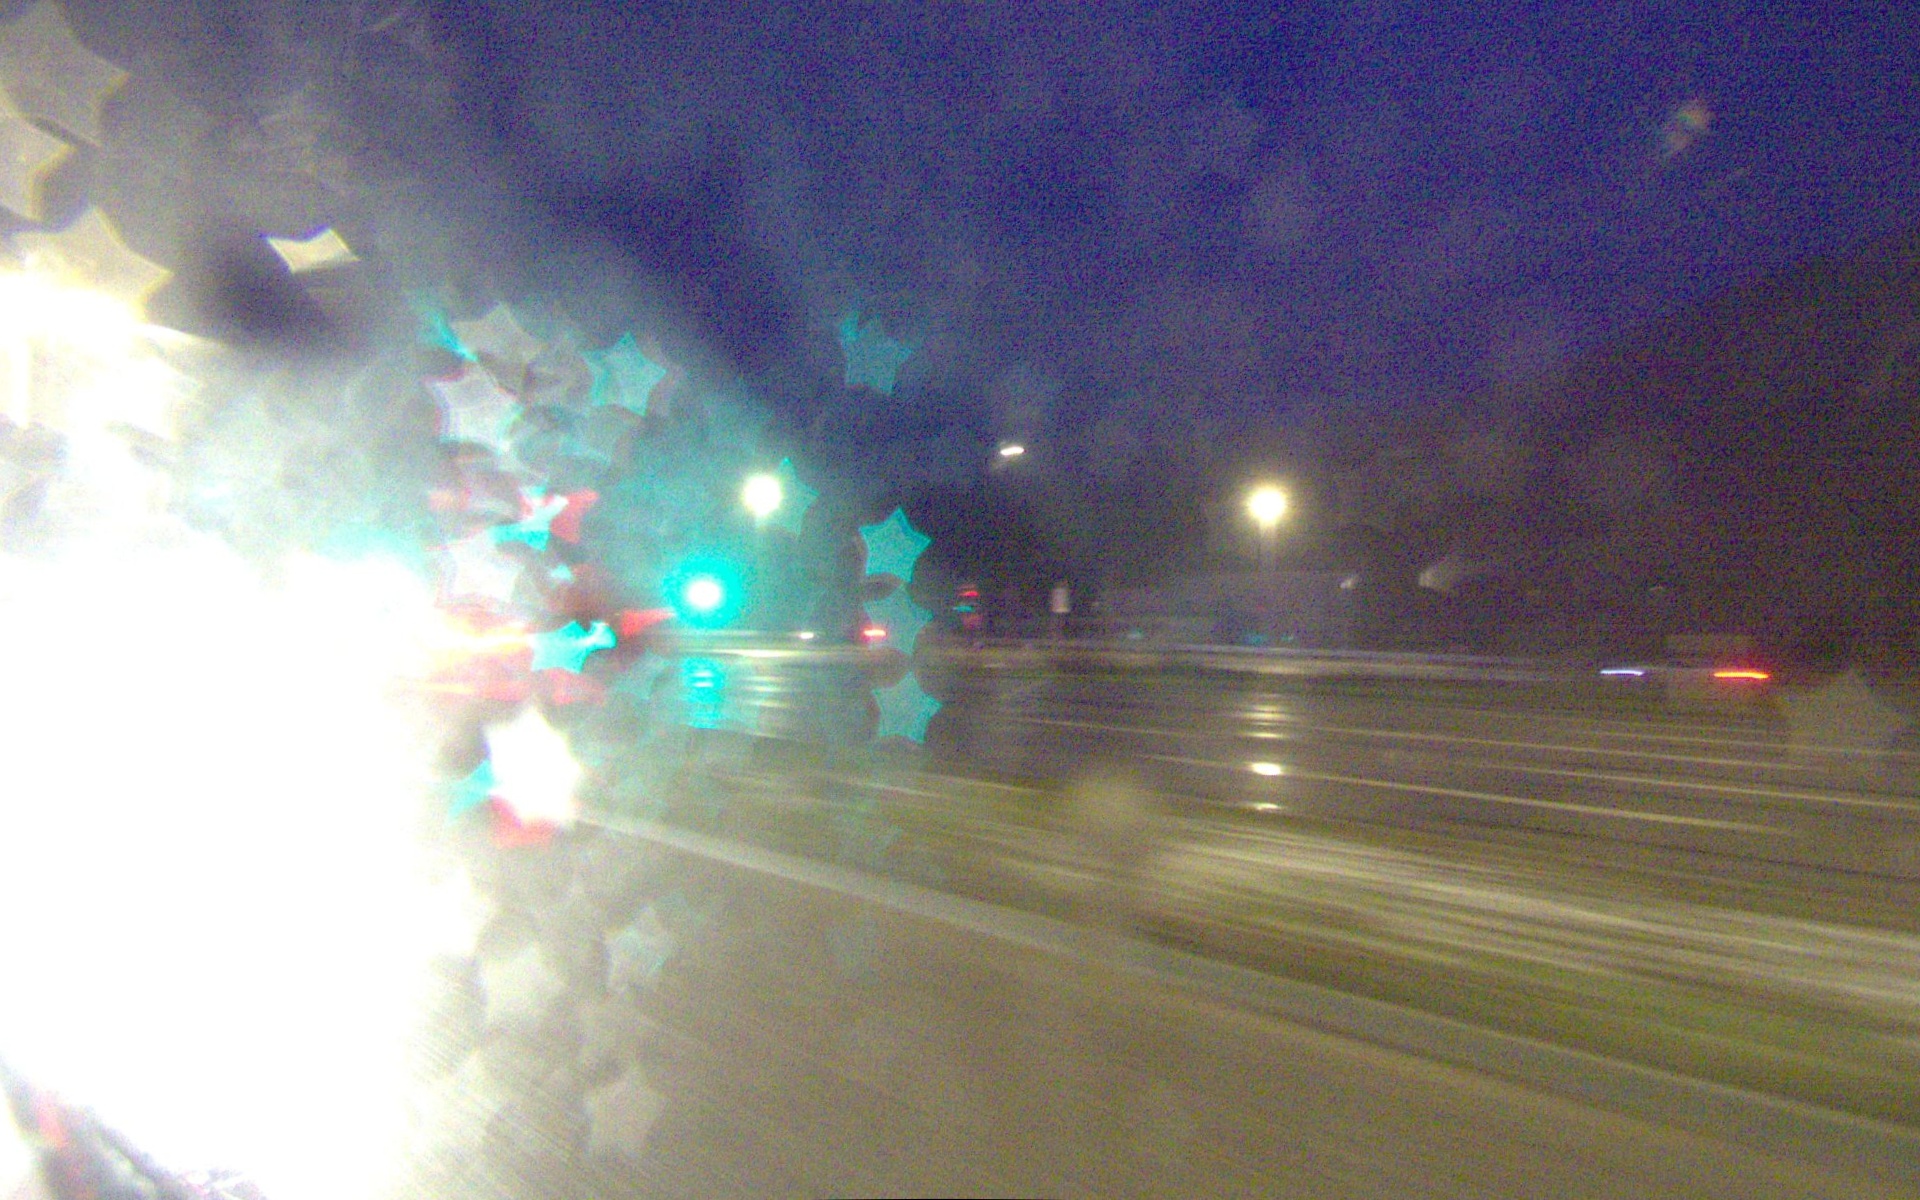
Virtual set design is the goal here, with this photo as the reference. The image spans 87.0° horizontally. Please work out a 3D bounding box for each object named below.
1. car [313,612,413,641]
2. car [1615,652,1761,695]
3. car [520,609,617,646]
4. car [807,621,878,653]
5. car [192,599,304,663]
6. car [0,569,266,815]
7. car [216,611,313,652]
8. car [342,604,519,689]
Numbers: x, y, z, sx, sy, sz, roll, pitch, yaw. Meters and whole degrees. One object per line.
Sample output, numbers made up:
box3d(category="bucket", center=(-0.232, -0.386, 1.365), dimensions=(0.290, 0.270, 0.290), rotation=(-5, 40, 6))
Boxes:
box3d(category="car", center=(-31.754, 1.404, 53.926), dimensions=(4.072, 1.460, 2.184), rotation=(1, 0, -6))
box3d(category="car", center=(30.016, 2.993, 41.833), dimensions=(1.968, 1.408, 4.563), rotation=(1, 0, -39))
box3d(category="car", center=(-21.509, 1.531, 55.772), dimensions=(4.840, 1.954, 2.006), rotation=(1, 0, -17))
box3d(category="car", center=(-6.923, 2.169, 59.675), dimensions=(4.038, 1.796, 2.003), rotation=(1, 0, -5))
box3d(category="car", center=(-20.996, 0.860, 29.788), dimensions=(4.140, 1.716, 1.700), rotation=(1, 0, 40))
box3d(category="car", center=(-8.224, 0.666, 9.104), dimensions=(4.932, 1.717, 1.891), rotation=(-1, -1, 38))
box3d(category="car", center=(-25.649, 1.107, 37.268), dimensions=(4.403, 1.364, 1.701), rotation=(1, 0, 38))
box3d(category="car", center=(-11.310, 0.907, 21.471), dimensions=(4.596, 1.545, 1.691), rotation=(1, 0, 40))
